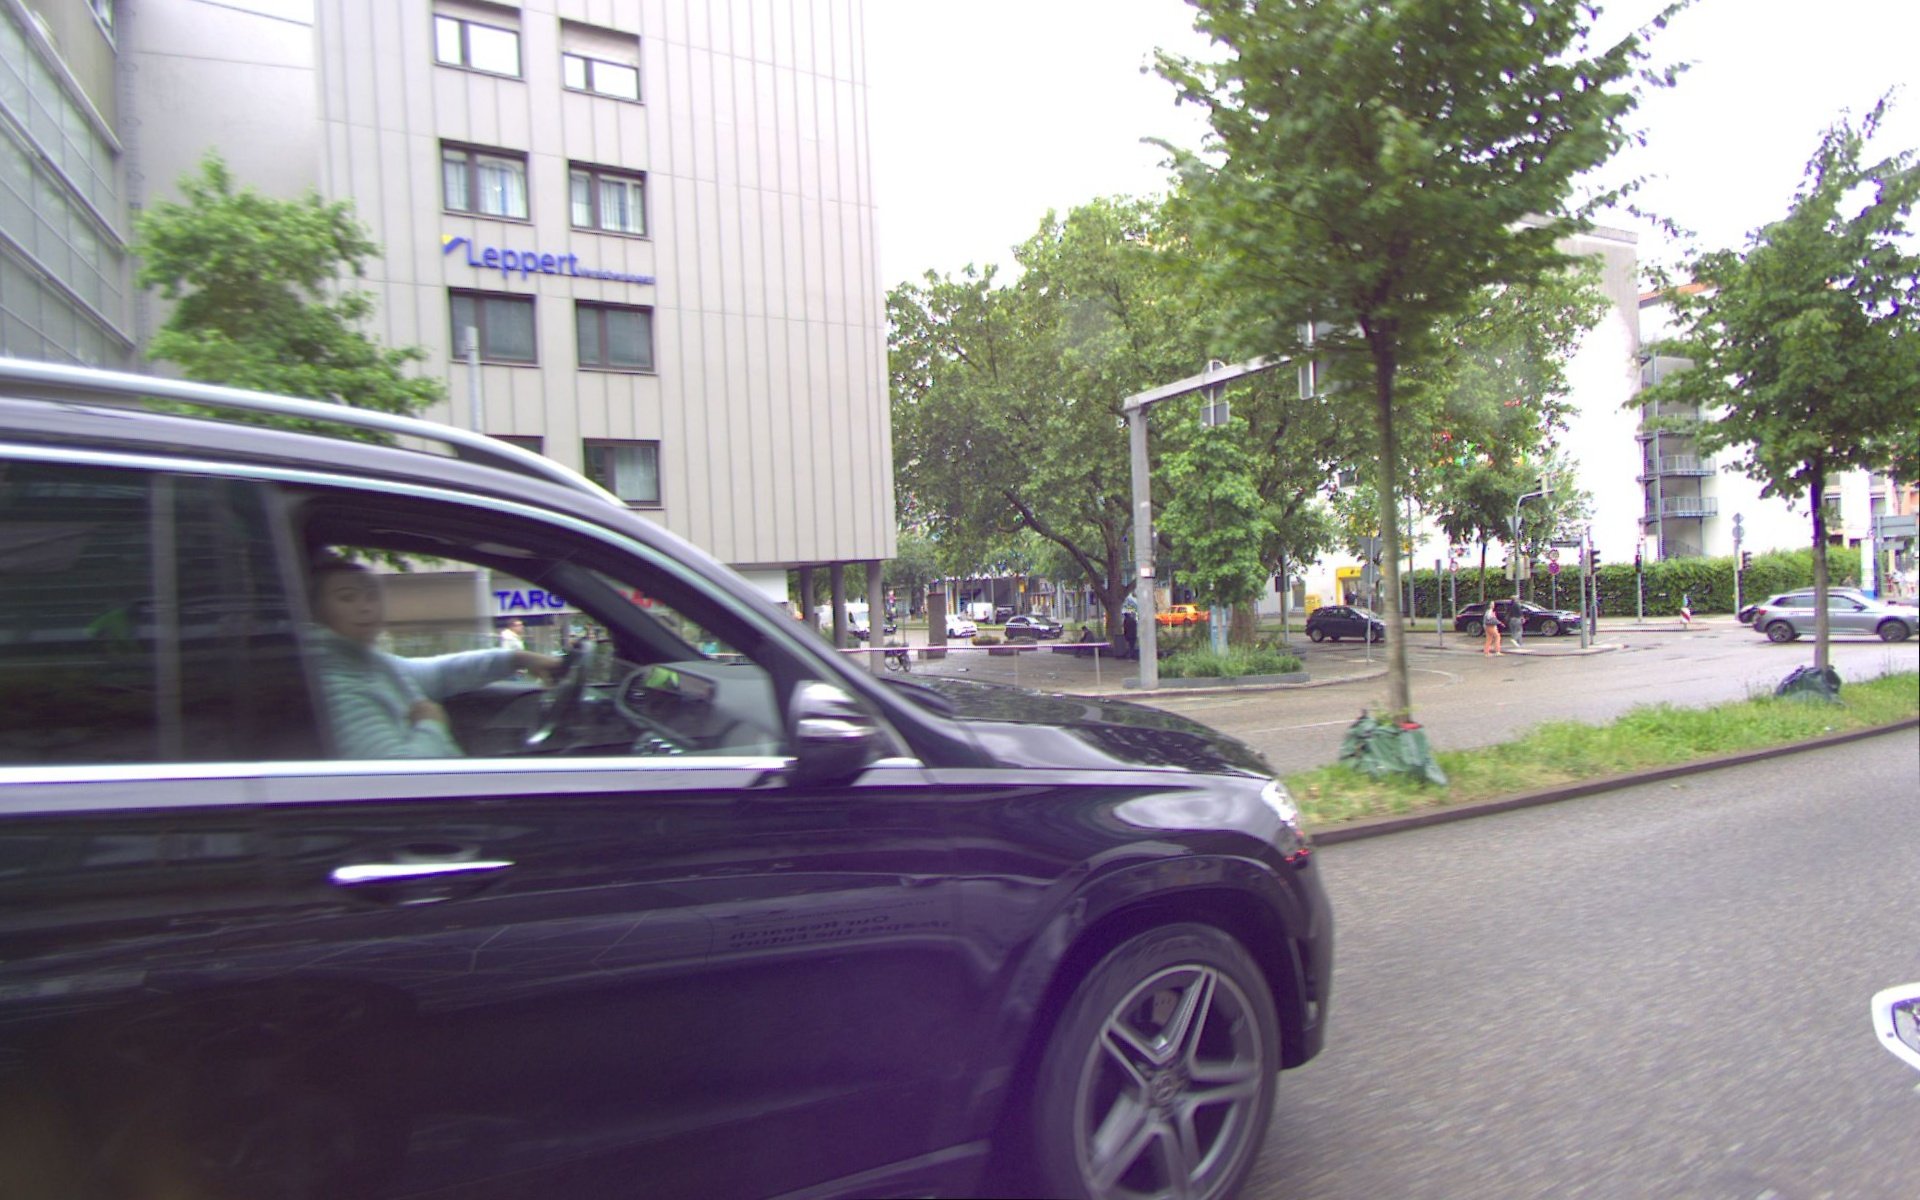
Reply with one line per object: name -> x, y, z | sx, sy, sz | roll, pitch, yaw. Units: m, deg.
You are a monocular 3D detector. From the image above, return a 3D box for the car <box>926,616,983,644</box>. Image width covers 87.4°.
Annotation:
car -> -0.403, 2.047, 68.302 | 1.976, 1.786, 4.385 | 0, -2, -29

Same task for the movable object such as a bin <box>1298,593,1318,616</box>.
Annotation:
movable object such as a bin -> 23.254, 0.320, 67.134 | 0.593, 1.465, 1.108 | 0, -2, -26

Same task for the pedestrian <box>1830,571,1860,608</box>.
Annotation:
pedestrian -> 43.901, -0.509, 49.844 | 0.888, 1.826, 0.628 | -1, -1, 19

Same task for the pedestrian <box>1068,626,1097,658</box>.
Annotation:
pedestrian -> 5.033, 1.730, 41.258 | 0.936, 1.289, 0.758 | -2, -1, 33

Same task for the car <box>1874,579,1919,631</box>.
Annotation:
car -> 32.215, 0.191, 31.844 | 4.624, 1.665, 1.779 | 1, 1, 38

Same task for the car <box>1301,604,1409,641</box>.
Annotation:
car -> 17.066, 0.951, 43.510 | 1.913, 1.532, 3.951 | 0, -1, -41

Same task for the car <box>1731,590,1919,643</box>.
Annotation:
car -> 26.941, 0.477, 31.142 | 1.928, 1.502, 4.548 | 0, 1, -42

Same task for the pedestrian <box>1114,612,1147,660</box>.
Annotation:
pedestrian -> 6.355, 1.337, 37.382 | 0.937, 1.745, 0.757 | -1, -1, -18

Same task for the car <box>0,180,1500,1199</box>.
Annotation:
car -> -1.171, 0.422, 2.316 | 4.736, 1.841, 2.077 | 0, 2, -30

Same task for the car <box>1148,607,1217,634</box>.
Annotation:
car -> 13.927, 1.245, 62.937 | 1.762, 1.638, 3.960 | 1, -1, -42

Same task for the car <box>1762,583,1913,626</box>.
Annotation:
car -> 32.833, 0.178, 37.666 | 1.828, 1.547, 3.962 | 0, 0, -34

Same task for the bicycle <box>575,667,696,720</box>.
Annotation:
bicycle -> -7.576, 2.164, 23.531 | 2.640, 1.101, 0.608 | 1, 0, -32

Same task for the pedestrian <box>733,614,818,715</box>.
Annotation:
pedestrian -> -3.301, 1.121, 17.952 | 1.298, 1.735, 0.811 | 0, -2, -31

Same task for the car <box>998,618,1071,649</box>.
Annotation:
car -> 4.394, 1.988, 60.041 | 1.944, 1.782, 4.564 | 0, -2, -35

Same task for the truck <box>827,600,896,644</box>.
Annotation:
truck -> -7.300, 1.655, 73.471 | 2.738, 3.067, 6.263 | 0, -2, -30

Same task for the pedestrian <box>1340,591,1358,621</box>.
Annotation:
pedestrian -> 23.437, 0.358, 60.475 | 0.823, 1.802, 0.612 | 0, -1, -32

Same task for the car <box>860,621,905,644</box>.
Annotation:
car -> -6.043, 2.492, 77.837 | 1.974, 1.717, 4.389 | 0, -2, -27

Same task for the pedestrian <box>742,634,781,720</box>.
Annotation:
pedestrian -> -4.118, 1.578, 20.869 | 0.628, 1.735, 0.597 | 0, -2, -31

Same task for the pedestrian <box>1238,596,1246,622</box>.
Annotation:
pedestrian -> 18.687, 0.591, 66.578 | 0.496, 1.732, 0.618 | -1, -1, 17

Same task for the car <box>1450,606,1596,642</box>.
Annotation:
car -> 23.009, 0.932, 41.220 | 1.752, 1.289, 4.950 | 0, 1, -42

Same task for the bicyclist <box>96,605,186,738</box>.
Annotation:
bicyclist -> -11.920, 1.021, 14.629 | 0.983, 1.854, 0.663 | 1, -2, -41

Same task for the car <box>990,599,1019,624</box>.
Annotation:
car -> 3.764, 0.974, 84.097 | 1.959, 2.040, 4.002 | 0, 0, 9

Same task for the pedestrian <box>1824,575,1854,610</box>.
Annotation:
pedestrian -> 42.755, -0.353, 48.853 | 0.908, 1.629, 0.564 | -1, -1, 19

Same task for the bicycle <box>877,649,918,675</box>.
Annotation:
bicycle -> -2.396, 2.352, 38.323 | 0.741, 0.903, 1.870 | 1, 0, -33

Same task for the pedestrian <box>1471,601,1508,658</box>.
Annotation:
pedestrian -> 17.116, 0.958, 32.474 | 0.861, 1.803, 0.707 | -1, -1, 14

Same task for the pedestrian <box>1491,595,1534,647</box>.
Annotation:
pedestrian -> 18.938, 0.727, 34.460 | 1.035, 1.731, 0.813 | -1, -1, 8

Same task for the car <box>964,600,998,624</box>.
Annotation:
car -> 1.860, 1.022, 88.810 | 2.017, 2.040, 4.266 | 0, 0, 15

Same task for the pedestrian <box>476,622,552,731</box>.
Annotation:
pedestrian -> -7.474, 1.252, 16.823 | 1.027, 1.745, 0.987 | 0, -1, -33
